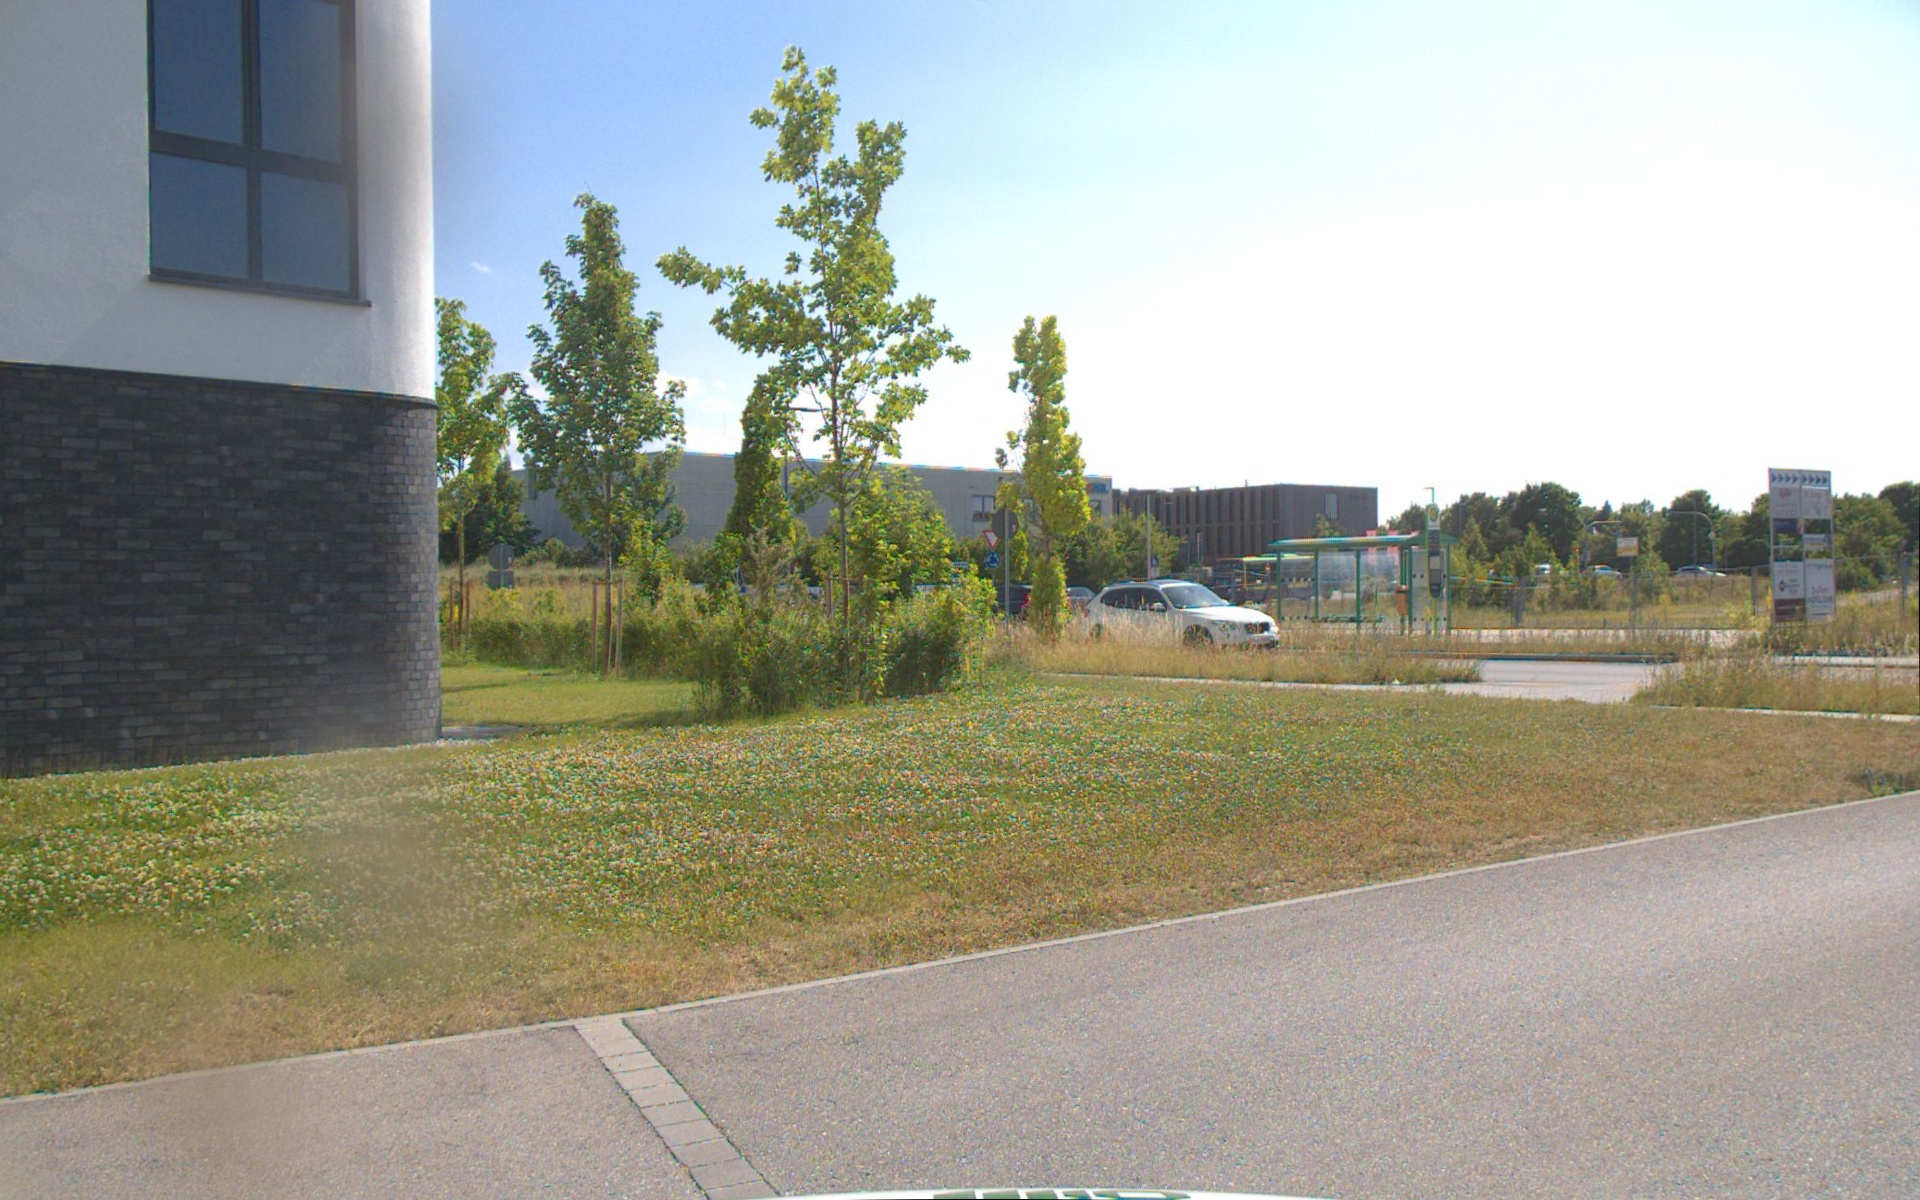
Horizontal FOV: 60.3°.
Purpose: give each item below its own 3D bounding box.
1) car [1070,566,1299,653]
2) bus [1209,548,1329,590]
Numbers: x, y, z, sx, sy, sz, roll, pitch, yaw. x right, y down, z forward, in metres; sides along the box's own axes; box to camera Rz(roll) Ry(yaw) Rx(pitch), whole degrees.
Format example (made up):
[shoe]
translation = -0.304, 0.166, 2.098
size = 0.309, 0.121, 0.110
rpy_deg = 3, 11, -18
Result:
[car]
translation = 4.286, 0.145, 32.214
size = 1.724, 1.578, 4.507
rpy_deg = 0, 1, -39
[bus]
translation = 21.393, -2.176, 113.981
size = 2.535, 2.783, 11.499
rpy_deg = 0, 1, 42
